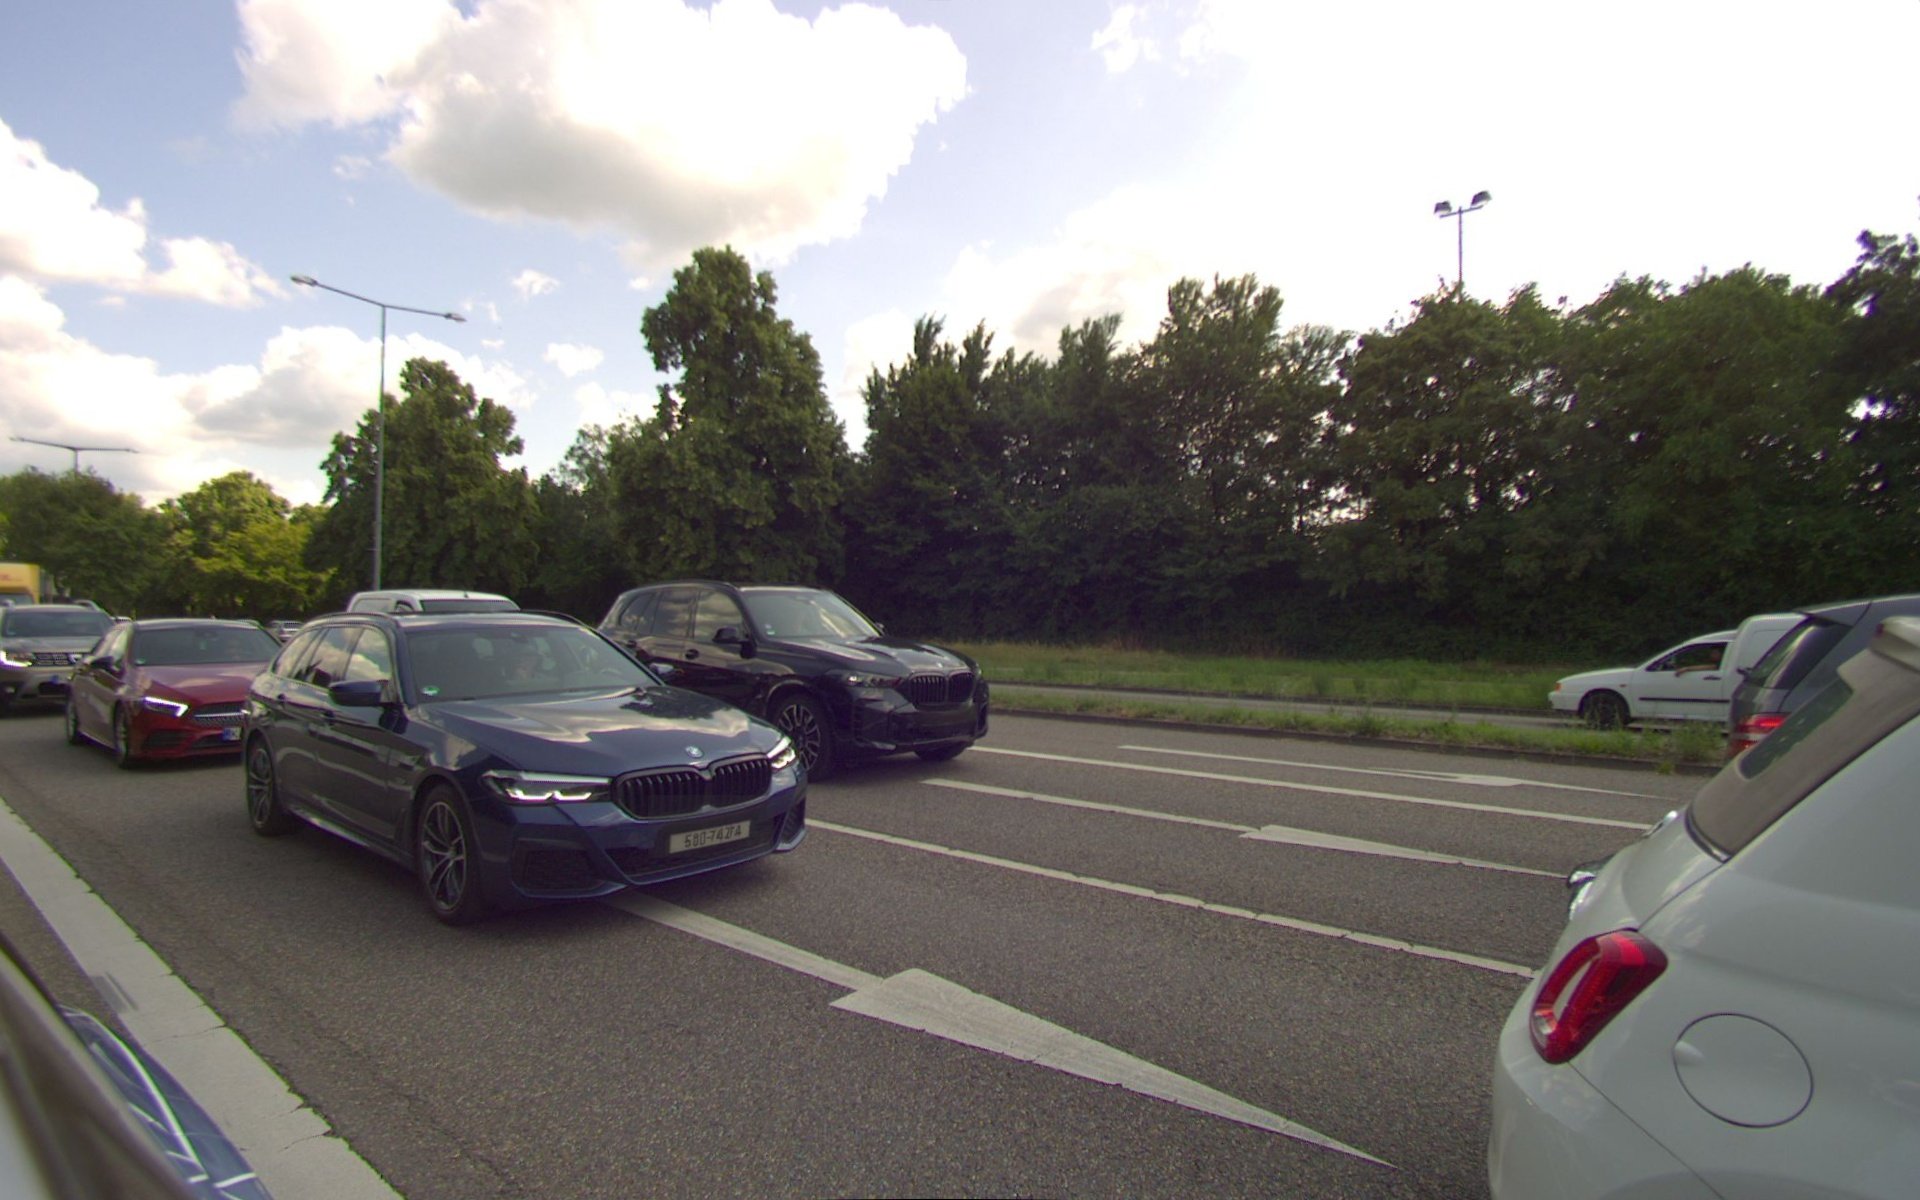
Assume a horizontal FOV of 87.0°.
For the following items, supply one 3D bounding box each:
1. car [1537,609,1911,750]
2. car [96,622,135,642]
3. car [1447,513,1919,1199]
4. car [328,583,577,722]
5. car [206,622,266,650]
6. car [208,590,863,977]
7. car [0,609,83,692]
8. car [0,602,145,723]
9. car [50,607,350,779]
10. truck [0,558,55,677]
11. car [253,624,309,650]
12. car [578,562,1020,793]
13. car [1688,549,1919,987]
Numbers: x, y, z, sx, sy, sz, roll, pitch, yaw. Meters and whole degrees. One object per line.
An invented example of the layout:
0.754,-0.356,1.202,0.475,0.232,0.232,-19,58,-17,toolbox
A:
11.147,1.045,15.039,4.252,1.807,1.653,0,-1,41,car
-63.138,2.361,75.649,3.998,1.397,1.650,0,0,41,car
2.608,0.634,1.022,3.538,1.508,1.553,0,0,41,car
-7.851,0.707,15.440,4.728,1.812,1.747,0,-1,41,car
-38.646,1.929,53.983,4.236,1.435,1.650,-1,-3,41,car
-2.918,0.719,6.234,4.871,1.508,1.778,0,0,41,car
-19.438,0.975,20.740,3.892,1.542,1.705,0,0,41,car
-13.969,0.851,15.433,4.174,1.624,1.705,0,-1,41,car
-8.364,0.840,10.966,4.533,1.473,1.705,-1,0,41,car
-25.930,0.464,26.618,6.963,2.881,2.333,-1,0,41,truck
-40.154,2.175,59.833,4.236,1.397,1.650,0,-3,41,car
-1.754,0.609,9.906,4.547,1.759,1.794,0,-1,41,car
5.234,0.623,3.433,4.358,1.631,1.681,0,-1,41,car
